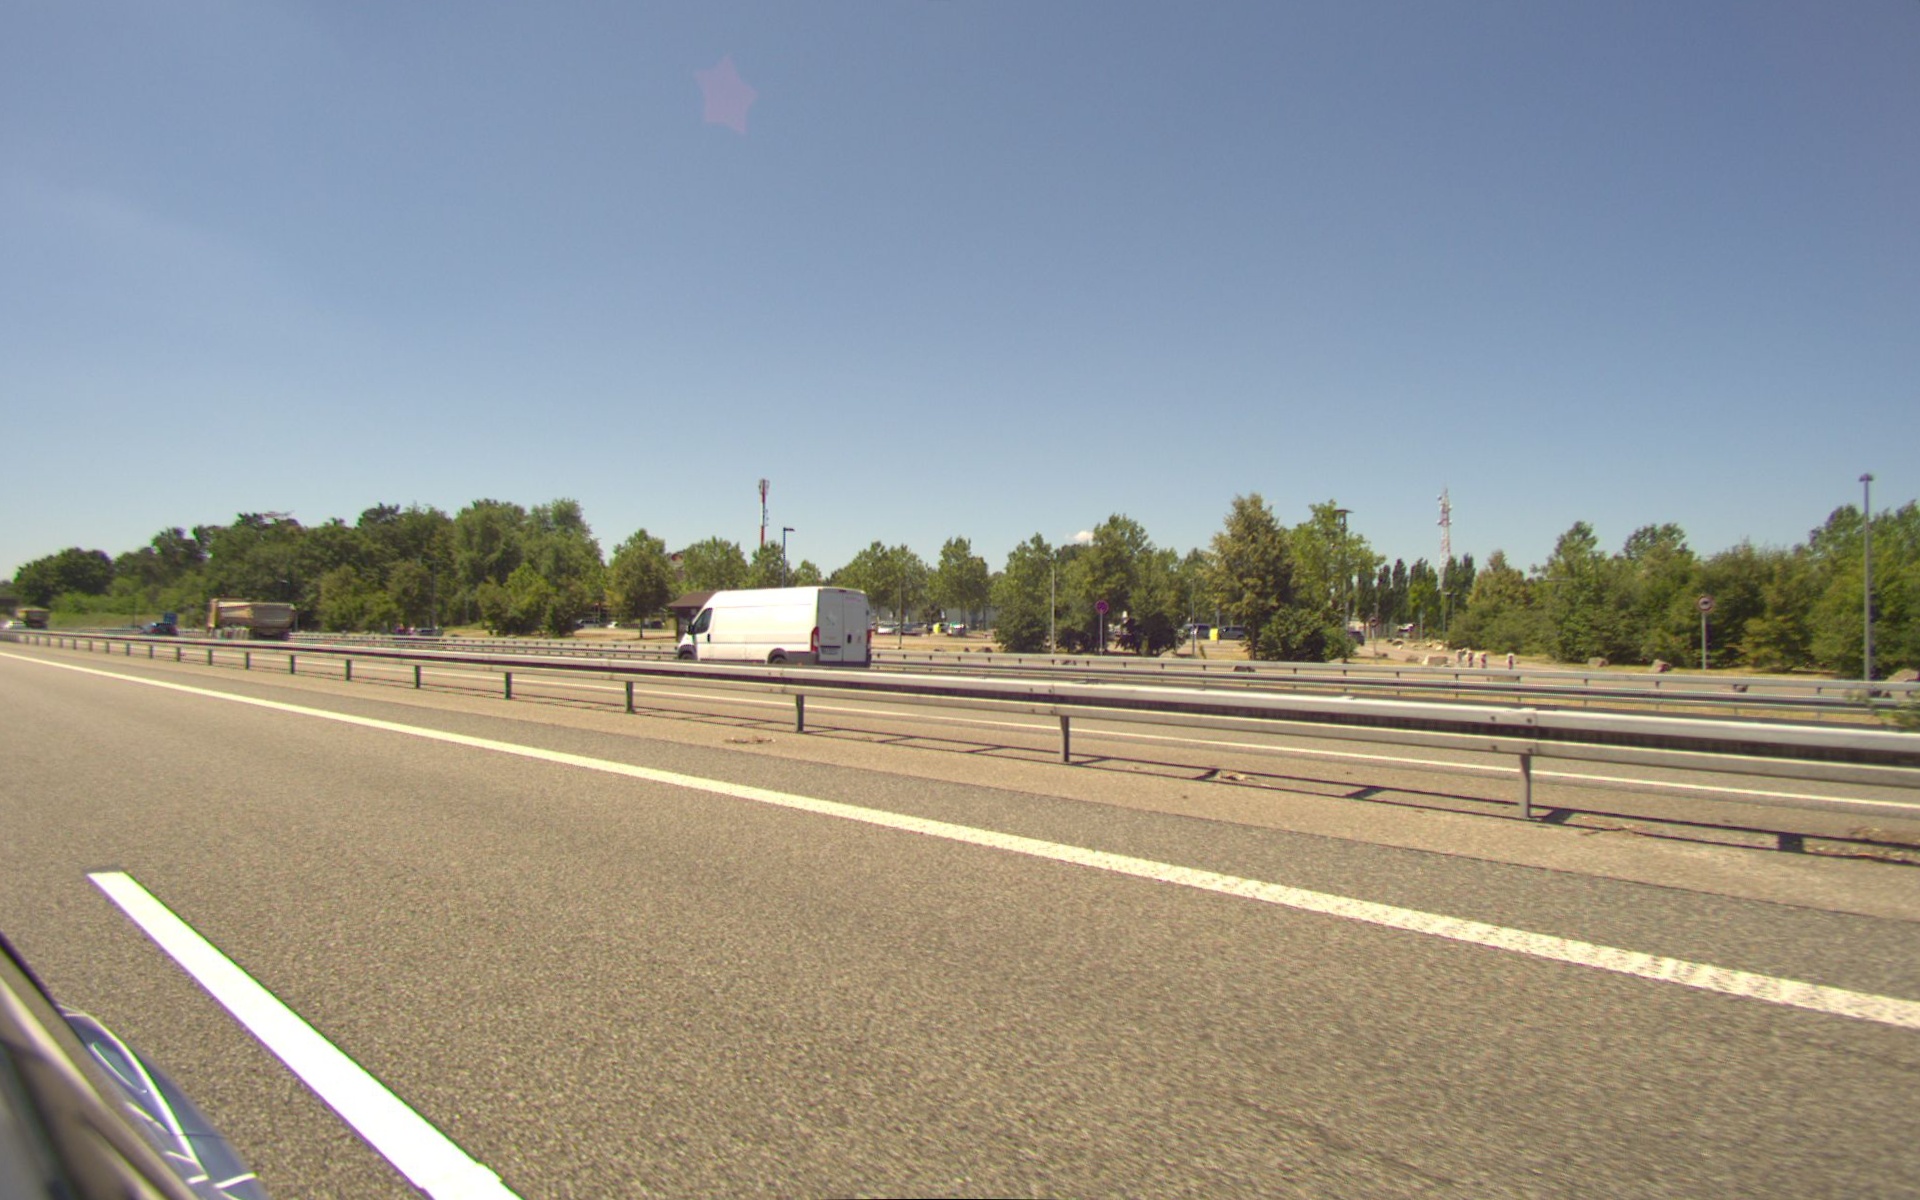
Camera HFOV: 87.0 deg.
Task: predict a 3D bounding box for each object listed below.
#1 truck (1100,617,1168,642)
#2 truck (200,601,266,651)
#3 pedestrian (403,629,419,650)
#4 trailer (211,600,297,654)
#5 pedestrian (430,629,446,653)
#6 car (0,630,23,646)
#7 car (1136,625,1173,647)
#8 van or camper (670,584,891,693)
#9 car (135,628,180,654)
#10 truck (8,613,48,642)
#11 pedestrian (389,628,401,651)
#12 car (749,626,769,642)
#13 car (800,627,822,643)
[{"bbox_3d":[18.653,3.186,108.738,6.834,2.511,2.140,-1,0,0],"label":"truck"},{"bbox_3d":[-53.570,1.876,74.526,5.643,3.542,2.753,-1,0,41],"label":"truck"},{"bbox_3d":[-39.736,2.859,73.279,0.757,1.529,0.749,-1,0,33],"label":"pedestrian"},{"bbox_3d":[-49.690,1.845,71.085,9.366,3.542,2.753,-1,0,41],"label":"trailer"},{"bbox_3d":[-35.697,2.808,69.203,0.873,1.619,0.669,-1,0,34],"label":"pedestrian"},{"bbox_3d":[-113.452,4.526,120.913,4.507,1.726,1.787,-1,0,41],"label":"car"},{"bbox_3d":[15.616,2.873,81.413,1.521,1.620,3.289,-1,0,-18],"label":"car"},{"bbox_3d":[-4.943,0.998,27.208,6.364,2.602,2.393,-1,-2,41],"label":"van or camper"},{"bbox_3d":[-57.074,2.900,71.988,4.483,1.727,1.728,-1,0,41],"label":"car"},{"bbox_3d":[-130.393,3.741,141.554,11.485,3.842,2.835,-1,0,41],"label":"truck"},{"bbox_3d":[-40.699,2.814,72.847,0.636,1.619,0.657,-1,0,-37],"label":"pedestrian"},{"bbox_3d":[-23.062,3.886,116.272,1.479,1.621,3.107,-1,0,6],"label":"car"},{"bbox_3d":[-16.100,3.814,109.703,1.542,1.621,3.433,-1,0,6],"label":"car"}]
